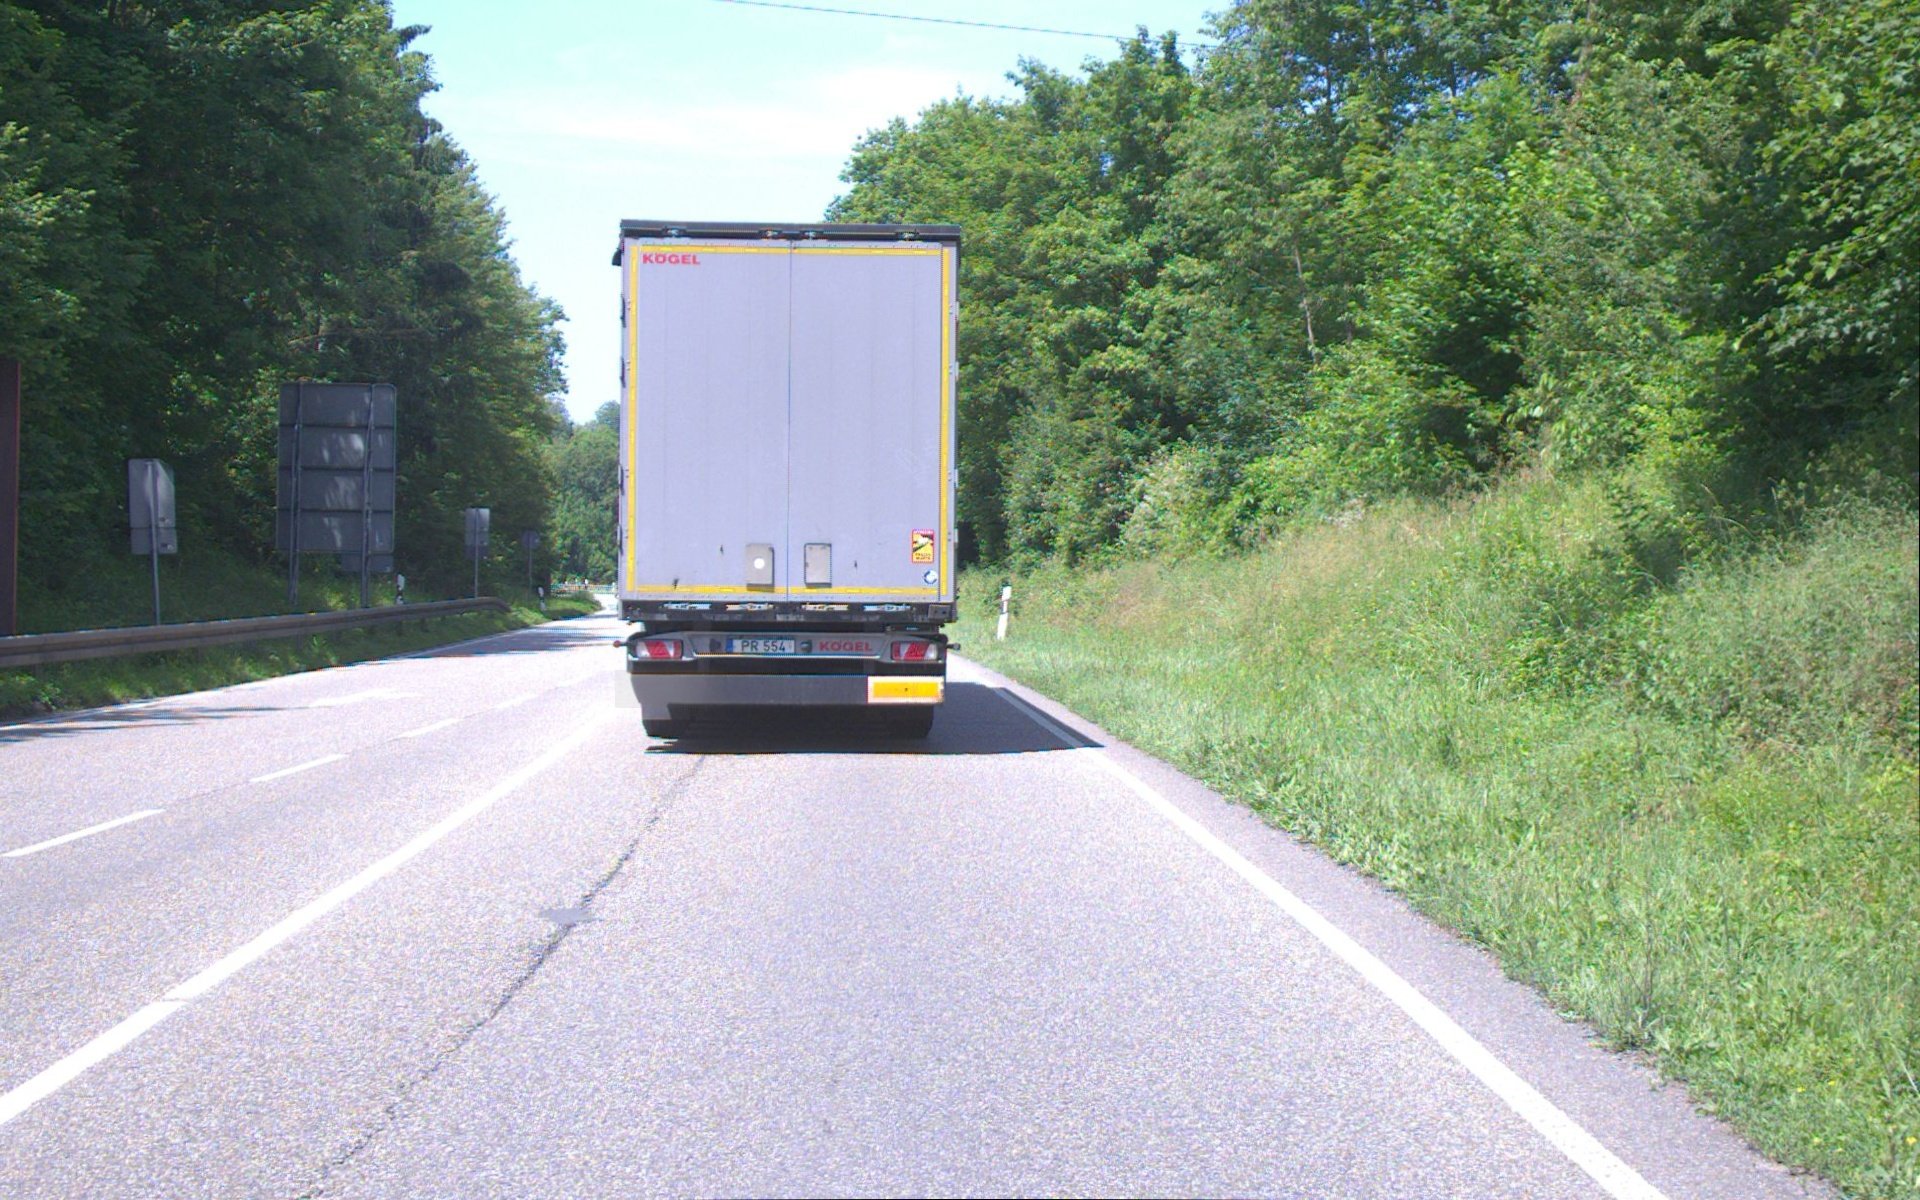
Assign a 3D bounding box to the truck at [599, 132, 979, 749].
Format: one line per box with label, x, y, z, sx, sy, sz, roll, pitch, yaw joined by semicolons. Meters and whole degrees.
truck;-1.324;-1.296;28.945;2.822;4.587;6.666;0;2;-1
